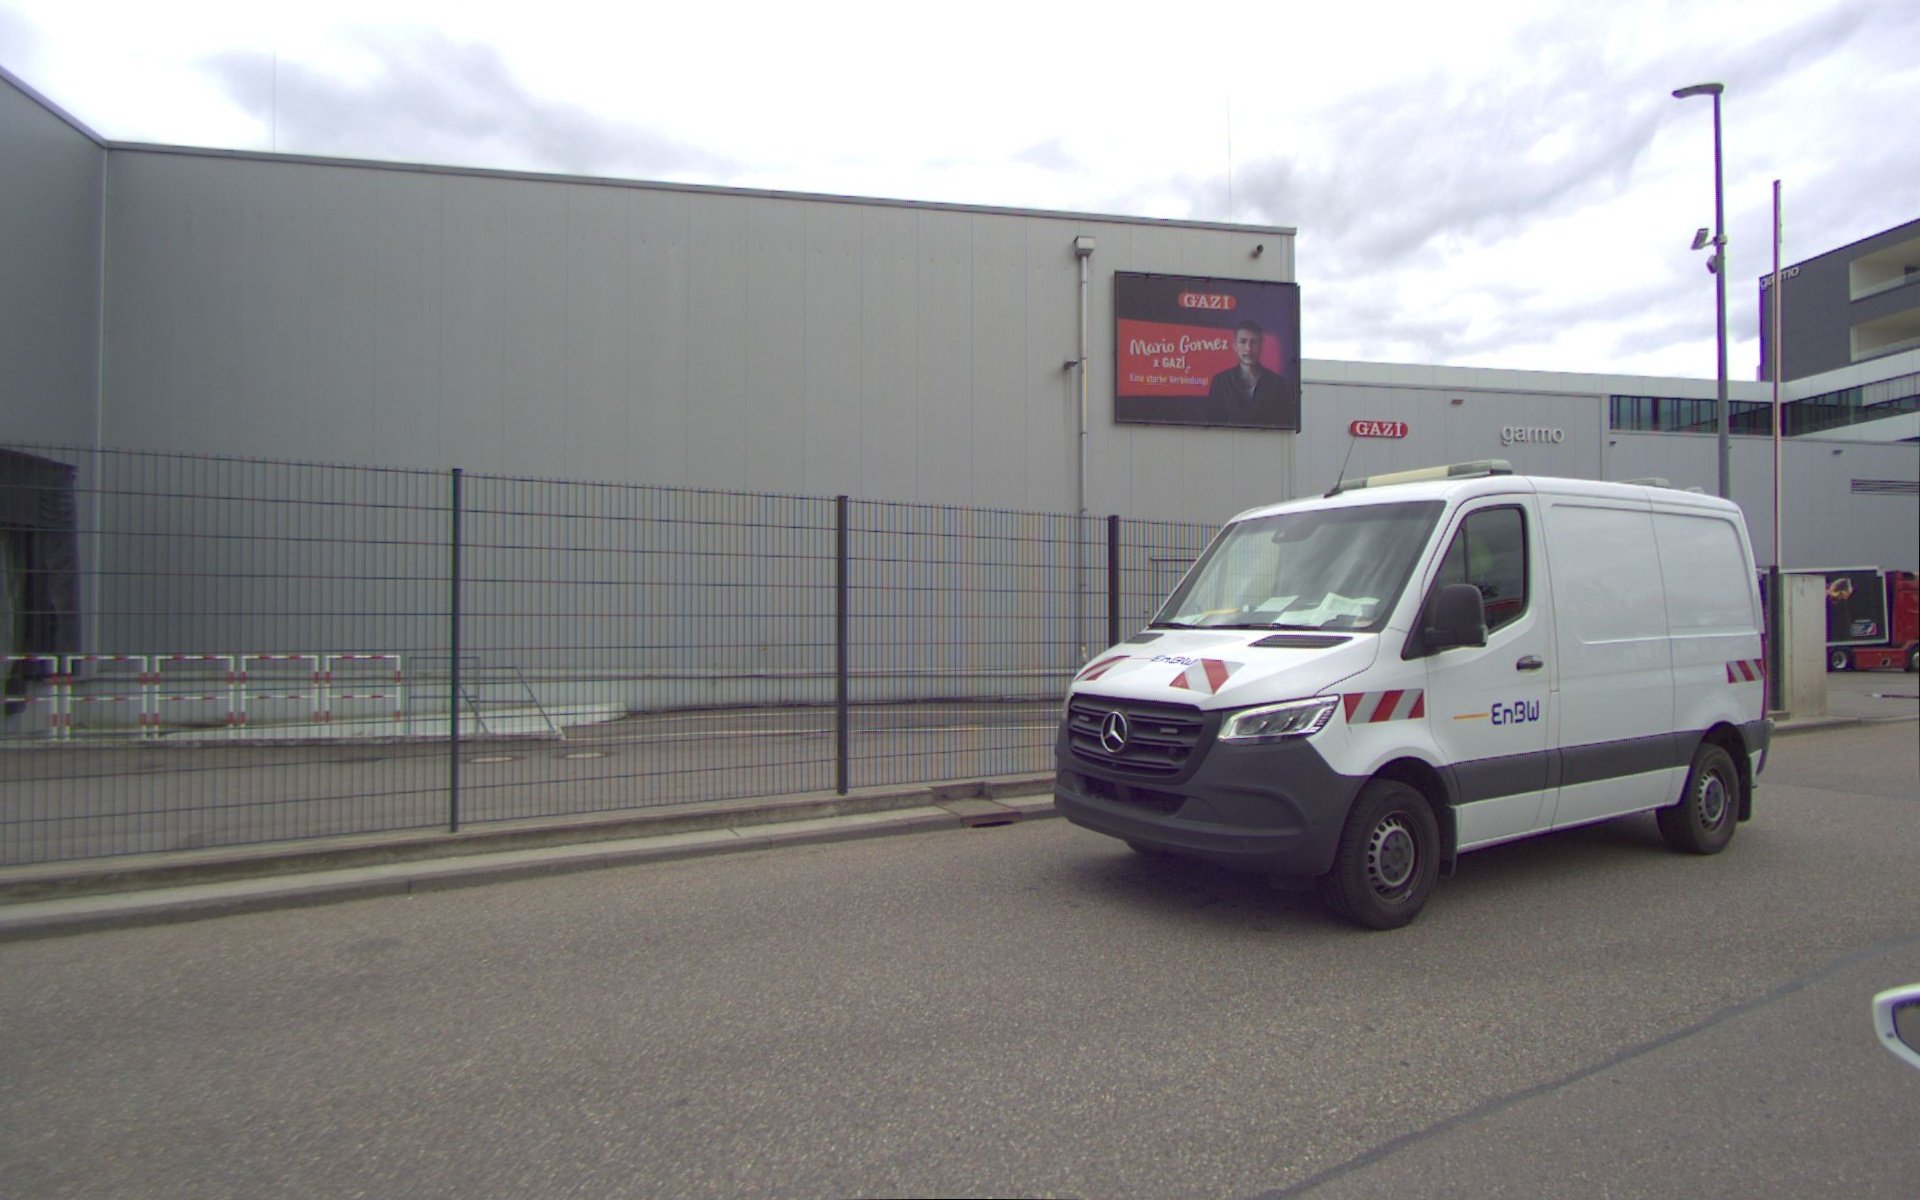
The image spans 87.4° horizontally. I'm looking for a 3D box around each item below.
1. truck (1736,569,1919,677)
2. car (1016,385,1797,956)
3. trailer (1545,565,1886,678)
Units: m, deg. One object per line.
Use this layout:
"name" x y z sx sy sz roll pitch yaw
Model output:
"truck" 34.930 0.920 39.676 6.964 4.084 2.747 0 -1 -10
"car" 3.070 0.350 6.493 5.195 2.448 1.984 1 -1 -30
"trailer" 29.047 0.852 38.694 12.388 4.084 2.747 0 -1 -10
